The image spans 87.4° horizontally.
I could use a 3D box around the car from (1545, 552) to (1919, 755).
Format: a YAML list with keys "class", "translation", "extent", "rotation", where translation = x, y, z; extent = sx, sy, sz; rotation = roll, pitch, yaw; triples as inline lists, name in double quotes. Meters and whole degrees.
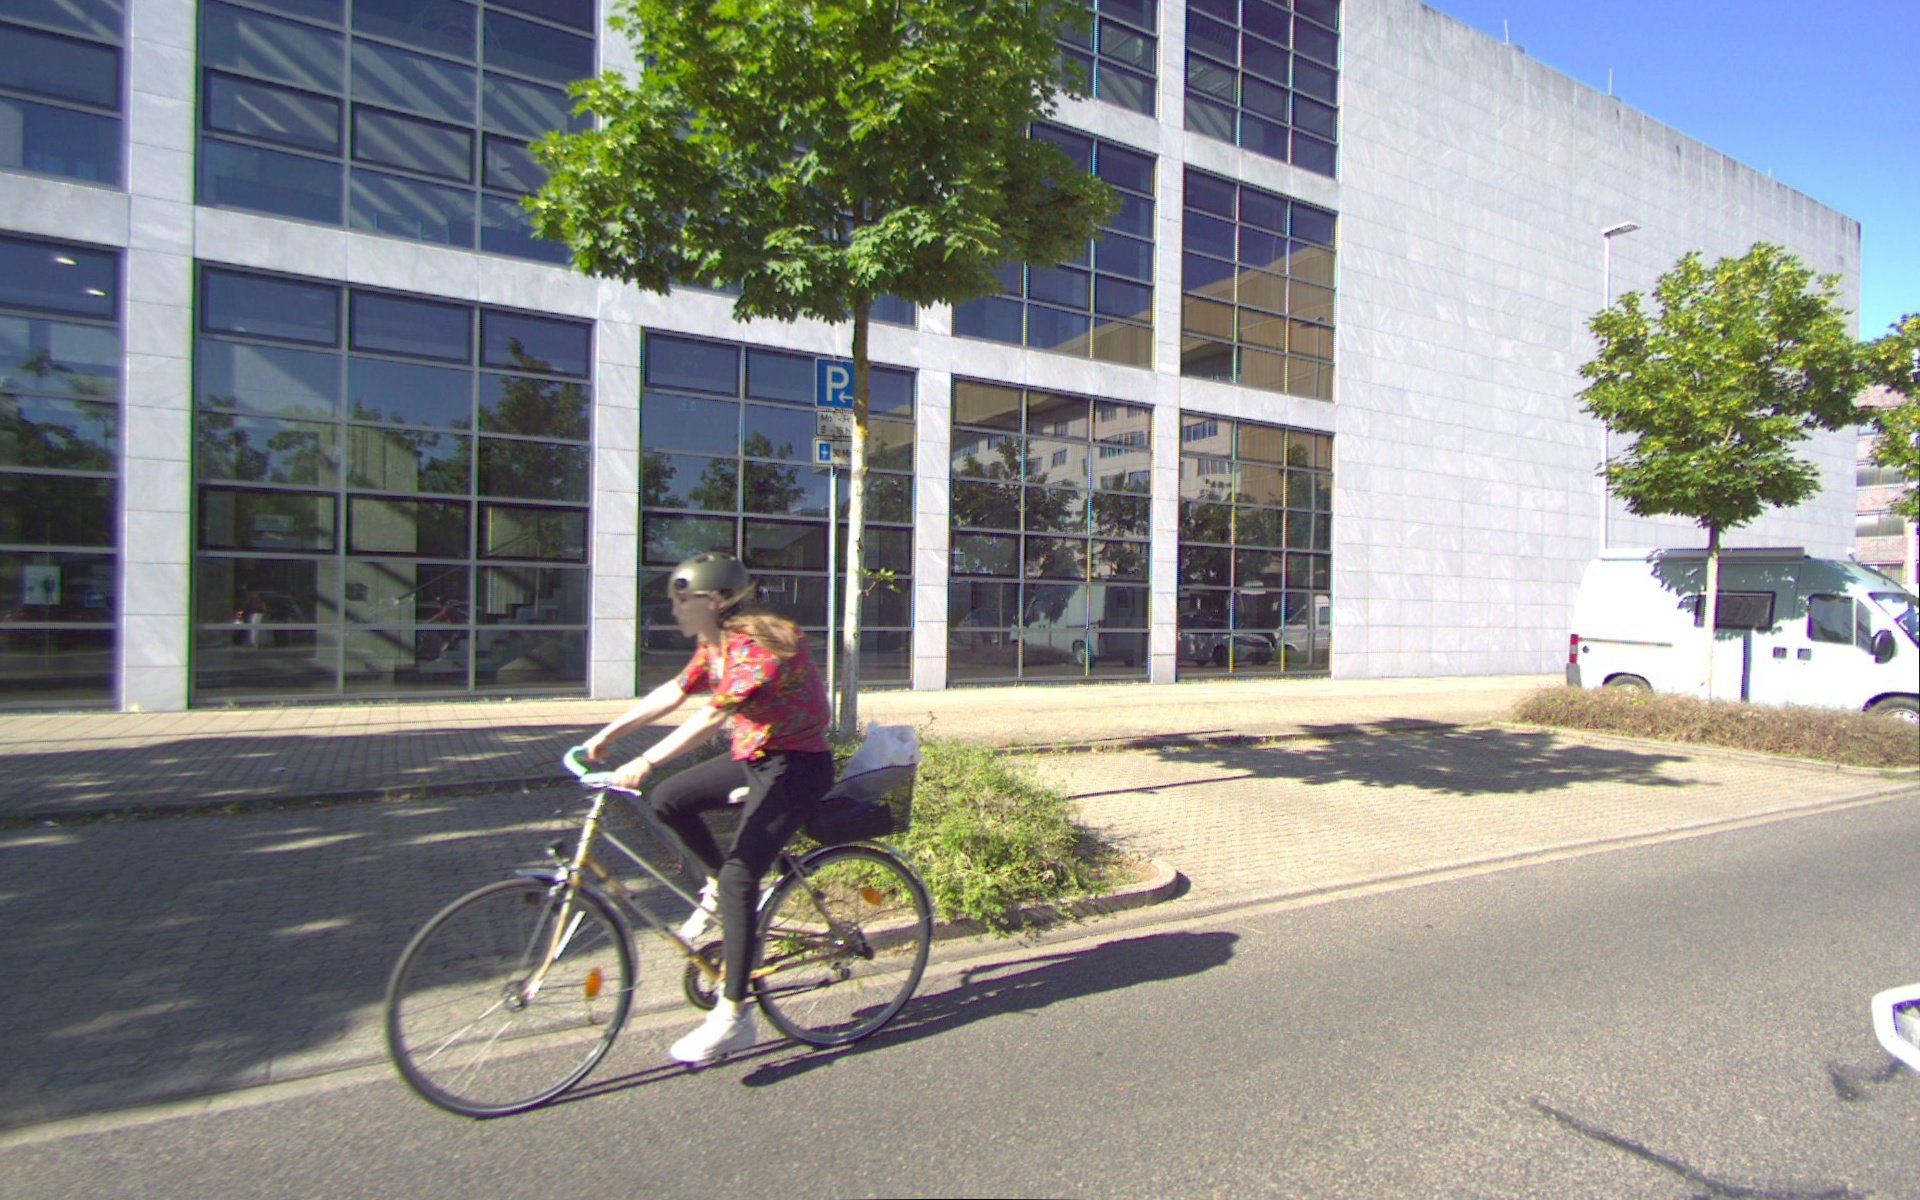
- class: "car"
  translation: [11.588, 0.599, 14.322]
  extent: [2.096, 2.451, 5.226]
  rotation: [1, 1, -28]

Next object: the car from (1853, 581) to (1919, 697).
- class: "car"
  translation: [21.783, 0.881, 20.054]
  extent: [1.962, 2.442, 5.530]
  rotation: [1, 1, -27]

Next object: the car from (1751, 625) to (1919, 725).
- class: "car"
  translation: [16.023, 1.270, 16.916]
  extent: [1.825, 1.492, 3.815]
  rotation: [1, 1, -27]

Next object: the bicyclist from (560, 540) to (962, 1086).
- class: "bicyclist"
  translation: [-0.659, 0.588, 3.286]
  extent: [1.118, 1.450, 0.754]
  rotation: [1, -2, -28]

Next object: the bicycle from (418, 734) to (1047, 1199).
- class: "bicycle"
  translation: [-0.693, 1.014, 3.264]
  extent: [1.848, 1.015, 0.754]
  rotation: [1, -2, -28]
